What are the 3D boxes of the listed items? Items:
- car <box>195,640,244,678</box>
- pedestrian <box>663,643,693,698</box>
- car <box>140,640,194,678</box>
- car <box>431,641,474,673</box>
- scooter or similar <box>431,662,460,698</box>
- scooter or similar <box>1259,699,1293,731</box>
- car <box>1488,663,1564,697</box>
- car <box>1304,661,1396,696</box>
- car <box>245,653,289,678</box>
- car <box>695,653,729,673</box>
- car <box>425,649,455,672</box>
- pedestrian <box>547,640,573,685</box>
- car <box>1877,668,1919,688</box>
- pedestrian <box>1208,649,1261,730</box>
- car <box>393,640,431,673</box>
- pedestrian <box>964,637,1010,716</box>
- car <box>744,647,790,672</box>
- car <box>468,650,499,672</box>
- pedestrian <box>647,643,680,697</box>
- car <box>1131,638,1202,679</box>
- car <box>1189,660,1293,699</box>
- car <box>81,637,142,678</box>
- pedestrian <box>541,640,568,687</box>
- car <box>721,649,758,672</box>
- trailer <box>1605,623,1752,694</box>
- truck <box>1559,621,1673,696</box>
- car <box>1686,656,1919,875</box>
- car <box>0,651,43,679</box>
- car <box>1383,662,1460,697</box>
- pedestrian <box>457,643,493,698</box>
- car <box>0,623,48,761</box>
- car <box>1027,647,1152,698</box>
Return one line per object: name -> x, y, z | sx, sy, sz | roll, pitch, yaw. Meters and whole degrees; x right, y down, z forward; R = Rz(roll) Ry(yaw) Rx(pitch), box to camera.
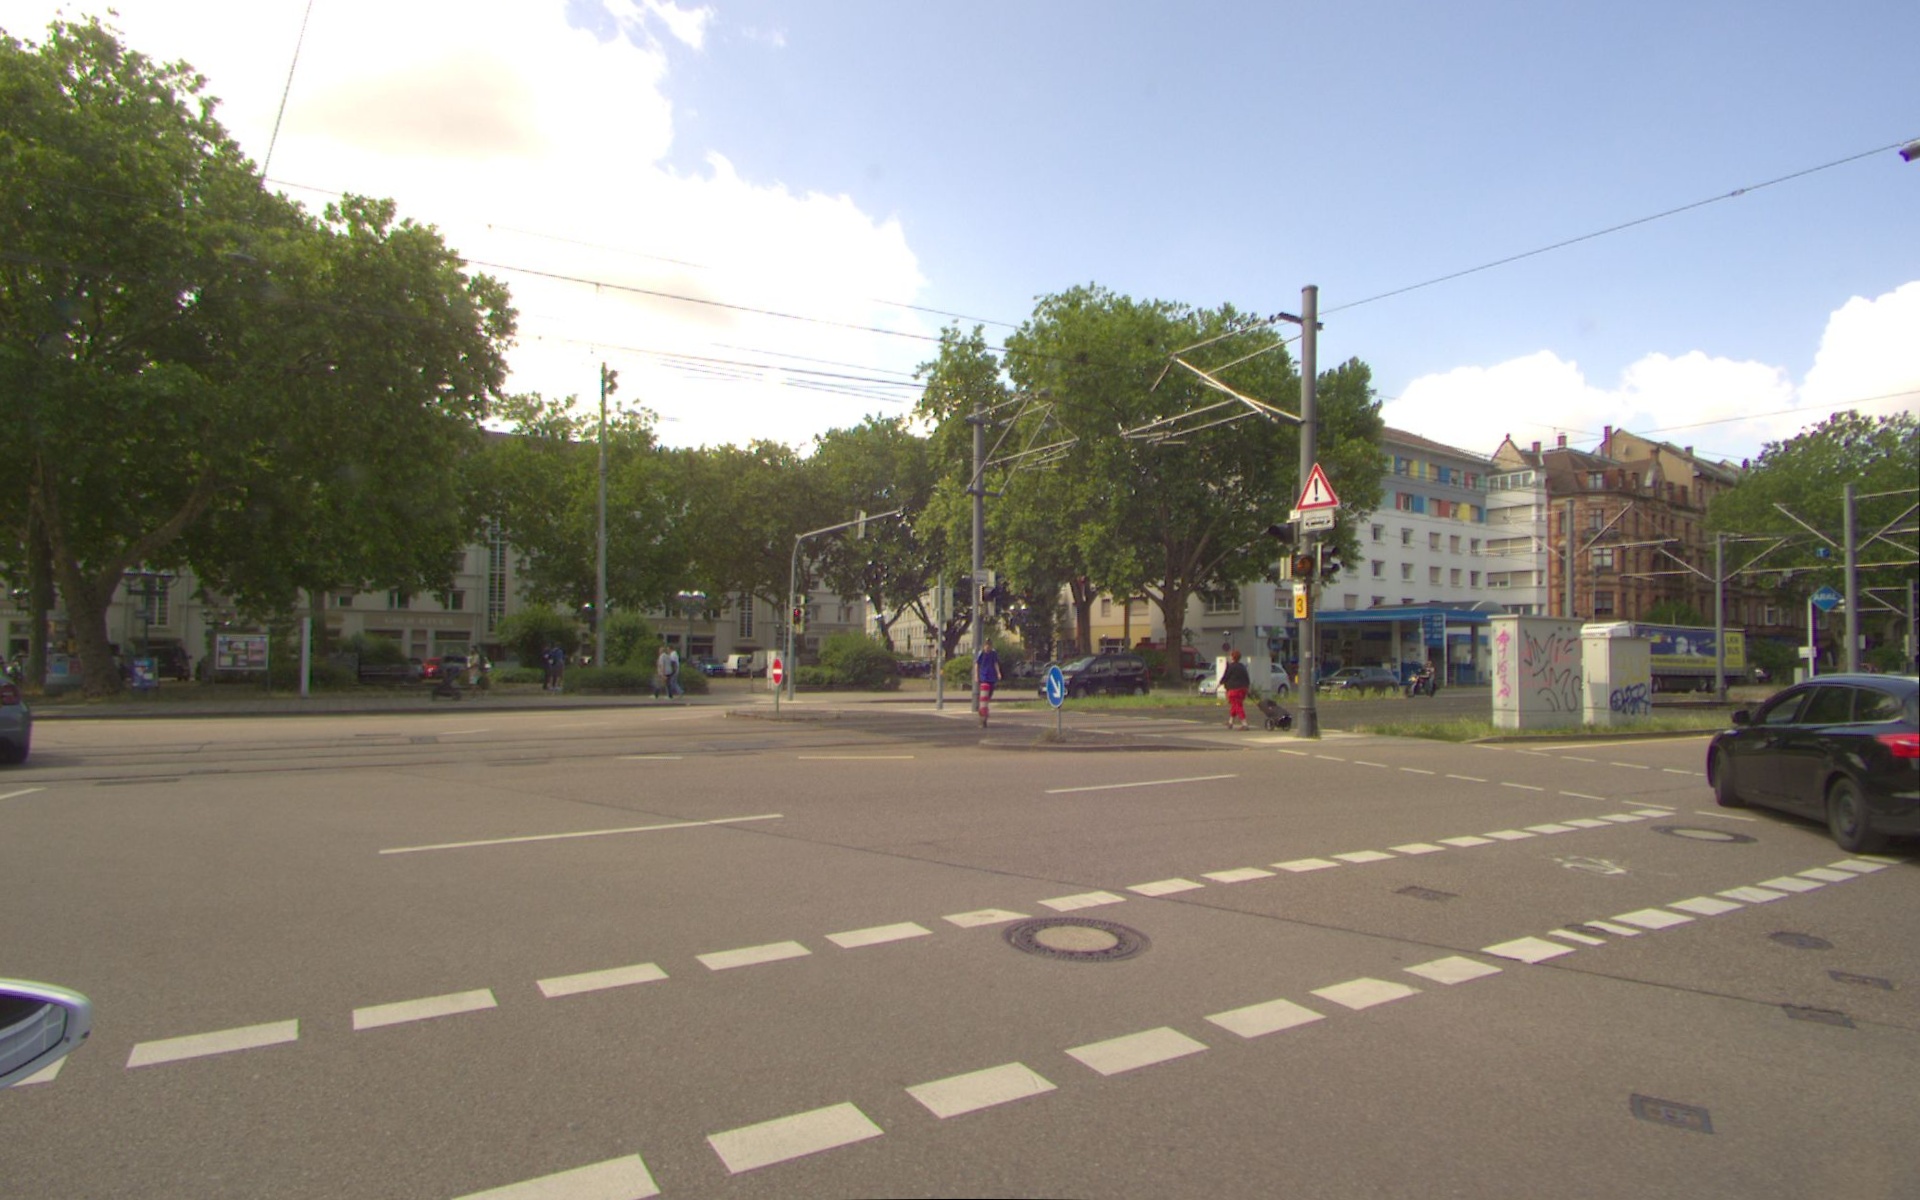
car -> -43.421, 3.470, 58.795 | 1.974, 2.101, 3.978 | 2, -4, -32
pedestrian -> -9.458, 2.354, 33.580 | 0.683, 1.786, 0.667 | -1, -3, 33
car -> -45.649, 3.397, 57.735 | 1.974, 2.101, 3.978 | 2, -4, -32
car -> -33.673, 3.797, 66.412 | 1.975, 2.038, 3.975 | 2, -4, -35
scooter or similar -> -15.629, 2.415, 30.413 | 0.699, 1.069, 0.488 | 2, -3, -32
scooter or similar -> 5.905, 2.148, 18.699 | 0.516, 0.542, 0.308 | 0, -2, 45
car -> 30.457, 4.303, 53.875 | 4.080, 1.726, 1.844 | 3, -3, -33
car -> 17.361, 3.444, 44.539 | 3.920, 1.464, 1.844 | 2, -3, -32
car -> -41.774, 3.965, 60.442 | 1.974, 1.439, 3.978 | 3, -4, -32
car -> -21.495, 5.452, 86.718 | 1.720, 1.657, 3.980 | 2, -4, -31
car -> -38.946, 4.526, 74.951 | 1.720, 1.657, 3.980 | 2, -4, -31
pedestrian -> -16.055, 2.509, 40.180 | 0.597, 1.772, 0.695 | -1, -3, 33
car -> 78.902, 6.533, 84.152 | 3.947, 1.651, 1.793 | 2, -4, -33
pedestrian -> 5.289, 1.703, 19.284 | 0.768, 1.510, 0.652 | -2, -3, 44
car -> -35.790, 3.690, 65.347 | 1.973, 2.038, 3.979 | 2, -4, -32
pedestrian -> 0.615, 1.750, 23.050 | 0.734, 1.752, 0.768 | 2, -3, -34
car -> -15.124, 4.666, 78.325 | 2.075, 1.929, 4.469 | 2, -4, -31
car -> -36.586, 4.647, 76.800 | 1.720, 1.657, 3.980 | 2, -4, -31
pedestrian -> -9.757, 2.301, 32.956 | 0.683, 1.744, 0.716 | -1, -3, 33
car -> 12.760, 3.595, 61.856 | 3.947, 2.450, 2.101 | 2, -3, -33
car -> 11.421, 3.223, 40.648 | 4.271, 1.483, 1.724 | 3, -3, -33
car -> -47.352, 3.213, 55.966 | 1.974, 2.209, 4.234 | 2, -4, -32
pedestrian -> -15.565, 2.442, 38.411 | 0.597, 1.772, 0.695 | -1, -3, 33
car -> -19.446, 5.326, 88.283 | 1.973, 1.988, 3.980 | 2, -4, -31
trailer -> 44.970, 3.695, 62.501 | 11.486, 4.128, 2.904 | 2, -3, -30
truck -> 38.528, 3.436, 58.762 | 6.497, 4.200, 2.904 | 2, -3, -30
car -> 8.507, 1.347, 9.146 | 1.753, 1.554, 4.381 | 1, -2, 18
car -> -48.059, 3.338, 51.304 | 1.455, 1.406, 3.040 | 3, -4, -42
car -> 22.156, 3.793, 48.017 | 3.704, 1.582, 1.676 | 3, -3, -33
pedestrian -> -14.947, 2.156, 30.858 | 0.910, 1.666, 0.567 | 2, -3, -32
car -> -12.530, 1.040, 11.887 | 3.419, 1.557, 1.689 | -1, -3, 33
car -> 4.714, 2.618, 36.287 | 4.360, 1.748, 1.844 | 3, -3, -32
